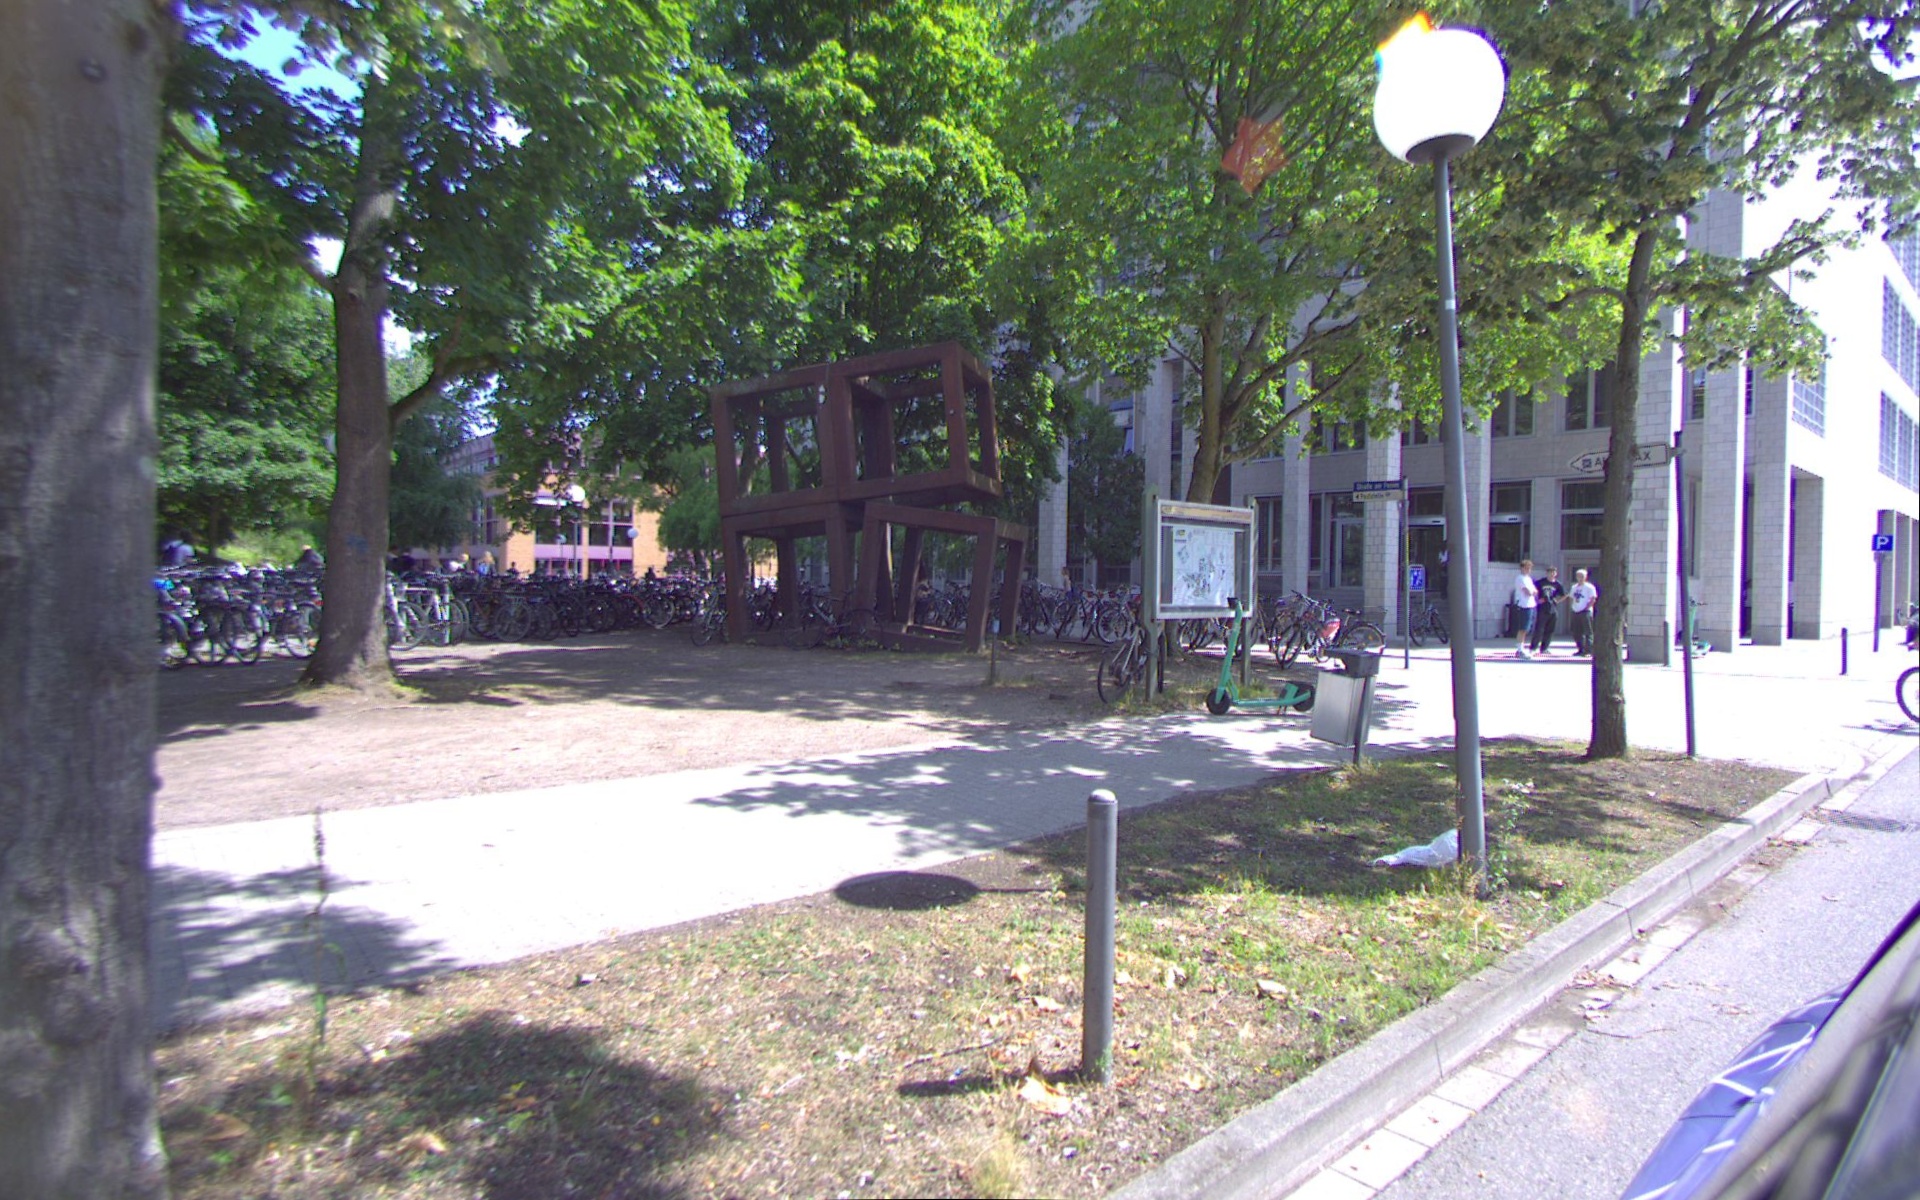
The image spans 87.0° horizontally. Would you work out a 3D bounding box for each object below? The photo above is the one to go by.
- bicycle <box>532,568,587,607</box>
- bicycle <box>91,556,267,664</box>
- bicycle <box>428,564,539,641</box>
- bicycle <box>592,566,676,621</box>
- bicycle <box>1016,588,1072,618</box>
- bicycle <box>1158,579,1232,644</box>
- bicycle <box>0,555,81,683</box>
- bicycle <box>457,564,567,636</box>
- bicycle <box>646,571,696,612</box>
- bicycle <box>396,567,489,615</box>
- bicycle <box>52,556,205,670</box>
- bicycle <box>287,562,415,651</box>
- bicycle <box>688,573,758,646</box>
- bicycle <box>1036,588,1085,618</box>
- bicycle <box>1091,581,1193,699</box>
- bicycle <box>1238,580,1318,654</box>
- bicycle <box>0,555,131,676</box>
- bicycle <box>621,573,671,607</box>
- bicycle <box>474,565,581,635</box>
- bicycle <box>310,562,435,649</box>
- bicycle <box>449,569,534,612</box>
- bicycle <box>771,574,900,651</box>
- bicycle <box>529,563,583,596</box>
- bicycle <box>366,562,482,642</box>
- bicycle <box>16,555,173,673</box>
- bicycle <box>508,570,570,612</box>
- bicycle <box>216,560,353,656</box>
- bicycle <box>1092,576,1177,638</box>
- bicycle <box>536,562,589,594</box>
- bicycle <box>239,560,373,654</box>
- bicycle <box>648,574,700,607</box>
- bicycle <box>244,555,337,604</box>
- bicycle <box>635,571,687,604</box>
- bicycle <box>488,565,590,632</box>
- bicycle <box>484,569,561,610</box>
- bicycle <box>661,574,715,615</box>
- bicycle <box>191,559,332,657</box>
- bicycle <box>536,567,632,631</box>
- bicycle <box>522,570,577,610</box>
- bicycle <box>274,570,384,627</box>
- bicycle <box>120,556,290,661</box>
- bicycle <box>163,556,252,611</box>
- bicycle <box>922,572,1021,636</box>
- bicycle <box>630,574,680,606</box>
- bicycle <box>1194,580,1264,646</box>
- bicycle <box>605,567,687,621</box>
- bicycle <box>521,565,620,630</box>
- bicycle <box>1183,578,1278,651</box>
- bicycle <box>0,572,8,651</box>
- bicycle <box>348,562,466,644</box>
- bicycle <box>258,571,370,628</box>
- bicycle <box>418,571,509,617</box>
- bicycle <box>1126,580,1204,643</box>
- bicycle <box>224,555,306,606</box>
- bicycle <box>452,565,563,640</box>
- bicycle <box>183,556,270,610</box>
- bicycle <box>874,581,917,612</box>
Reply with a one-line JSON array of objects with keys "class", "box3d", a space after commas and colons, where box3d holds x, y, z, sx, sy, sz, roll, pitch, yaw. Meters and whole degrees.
[{"class": "bicycle", "box3d": [-11.613, -0.355, 29.379, 1.441, 1.098, 0.353, 0, -2, -12]}, {"class": "bicycle", "box3d": [-9.040, 0.112, 11.733, 1.811, 1.185, 0.345, 1, 1, 2]}, {"class": "bicycle", "box3d": [-7.821, 0.029, 16.599, 1.817, 1.185, 0.352, 2, 1, 13]}, {"class": "bicycle", "box3d": [-7.383, -0.156, 22.954, 1.812, 1.185, 0.345, 2, 1, 5]}, {"class": "bicycle", "box3d": [2.672, 0.089, 32.235, 1.739, 0.911, 0.449, 1, 0, -22]}, {"class": "bicycle", "box3d": [4.200, 0.218, 18.051, 1.447, 1.099, 0.460, 2, 2, -40]}, {"class": "bicycle", "box3d": [-9.448, 0.156, 9.885, 1.768, 1.185, 0.401, 2, 1, 16]}, {"class": "bicycle", "box3d": [-7.717, -0.010, 17.432, 1.816, 1.185, 0.387, 2, 1, 11]}, {"class": "bicycle", "box3d": [-8.073, -0.242, 28.306, 0.351, 1.097, 1.452, 1, 1, 36]}, {"class": "bicycle", "box3d": [-11.377, -0.207, 22.257, 1.870, 0.991, 0.478, 2, 2, 5]}, {"class": "bicycle", "box3d": [-9.260, 0.125, 11.260, 1.819, 1.185, 0.344, 2, 1, 16]}, {"class": "bicycle", "box3d": [-8.626, 0.079, 14.323, 1.817, 1.185, 0.352, 2, 1, 13]}, {"class": "bicycle", "box3d": [-3.906, 0.124, 16.815, 0.468, 1.123, 1.665, 1, 2, 12]}, {"class": "bicycle", "box3d": [3.152, 0.085, 31.544, 1.743, 0.911, 0.337, -1, 1, -36]}, {"class": "bicycle", "box3d": [1.973, 0.379, 10.778, 0.622, 1.097, 1.674, -1, 3, 26]}, {"class": "bicycle", "box3d": [5.295, 0.285, 16.816, 1.464, 1.155, 0.560, 2, 2, -44]}, {"class": "bicycle", "box3d": [-9.558, 0.136, 10.594, 1.819, 1.185, 0.401, 2, 1, 16]}, {"class": "bicycle", "box3d": [-11.295, -0.357, 36.404, 0.549, 1.165, 1.661, -1, -2, 44]}, {"class": "bicycle", "box3d": [-7.720, -0.008, 18.059, 1.816, 1.185, 0.412, 2, 1, 11]}, {"class": "bicycle", "box3d": [-8.530, 0.065, 14.683, 1.817, 1.185, 0.352, 2, 1, 13]}, {"class": "bicycle", "box3d": [-11.488, -0.233, 24.825, 1.868, 0.991, 0.479, 2, 2, 0]}, {"class": "bicycle", "box3d": [-1.923, 0.170, 15.641, 1.895, 1.123, 0.630, 1, 2, 13]}, {"class": "bicycle", "box3d": [-13.740, -0.702, 34.451, 1.655, 1.098, 0.479, 0, -2, -4]}, {"class": "bicycle", "box3d": [-8.390, 0.018, 15.829, 1.817, 1.185, 0.352, 2, 1, 13]}, {"class": "bicycle", "box3d": [-9.346, 0.129, 10.918, 1.819, 1.185, 0.344, 2, 1, 16]}, {"class": "bicycle", "box3d": [-11.290, -0.237, 27.161, 1.442, 1.098, 0.479, 0, -2, -8]}, {"class": "bicycle", "box3d": [-8.873, 0.092, 13.292, 1.817, 1.185, 0.344, 2, 1, 13]}, {"class": "bicycle", "box3d": [3.276, 0.138, 18.904, 1.664, 1.099, 0.482, 2, 2, -36]}, {"class": "bicycle", "box3d": [-13.858, -0.755, 35.271, 1.655, 1.098, 0.479, 0, -2, -4]}, {"class": "bicycle", "box3d": [-8.800, 0.078, 13.621, 1.817, 1.185, 0.344, 2, 1, 13]}, {"class": "bicycle", "box3d": [-9.807, -0.321, 34.751, 0.527, 1.098, 1.661, -1, -2, 44]}, {"class": "bicycle", "box3d": [-14.206, -0.437, 21.471, 1.769, 0.991, 0.378, 2, 2, 3]}, {"class": "bicycle", "box3d": [-10.397, -0.421, 35.177, 1.654, 1.098, 0.529, 1, -2, -30]}, {"class": "bicycle", "box3d": [-7.801, -0.035, 18.767, 1.816, 1.185, 0.412, 2, 1, 11]}, {"class": "bicycle", "box3d": [-11.236, -0.280, 26.003, 1.874, 0.991, 0.477, 2, 2, 12]}, {"class": "bicycle", "box3d": [-7.398, -0.158, 27.553, 1.448, 1.097, 0.352, 0, 1, -45]}, {"class": "bicycle", "box3d": [-8.948, 0.084, 12.954, 1.817, 1.185, 0.344, 2, 1, 13]}, {"class": "bicycle", "box3d": [-7.397, -0.032, 19.902, 1.816, 1.185, 0.412, 2, 1, 11]}, {"class": "bicycle", "box3d": [-11.482, -0.277, 28.301, 1.451, 1.098, 0.451, 0, -2, 16]}, {"class": "bicycle", "box3d": [-11.977, -0.036, 19.218, 1.871, 0.991, 0.478, 2, 2, 7]}, {"class": "bicycle", "box3d": [-9.016, 0.093, 12.106, 1.811, 1.185, 0.345, 1, 1, 2]}, {"class": "bicycle", "box3d": [-14.308, -0.327, 19.236, 1.571, 0.991, 0.403, 2, 2, 11]}, {"class": "bicycle", "box3d": [0.220, 0.090, 18.494, 1.791, 1.091, 0.464, 2, 1, -33]}, {"class": "bicycle", "box3d": [-10.791, -0.345, 35.823, 0.527, 1.098, 1.661, -1, -2, 44]}, {"class": "bicycle", "box3d": [4.775, 0.237, 17.926, 1.416, 1.099, 0.460, 2, 2, -44]}, {"class": "bicycle", "box3d": [-7.223, -0.150, 23.289, 1.812, 1.185, 0.345, 2, 1, 5]}, {"class": "bicycle", "box3d": [-7.478, -0.050, 19.412, 1.816, 1.185, 0.412, 2, 1, 11]}, {"class": "bicycle", "box3d": [4.598, 0.247, 17.186, 1.494, 1.155, 0.493, 3, 1, -21]}, {"class": "bicycle", "box3d": [-13.094, 0.117, 13.064, 1.880, 0.991, 0.376, 2, 2, 20]}, {"class": "bicycle", "box3d": [-8.461, 0.034, 15.479, 1.817, 1.185, 0.352, 2, 1, 13]}, {"class": "bicycle", "box3d": [-12.023, -0.021, 18.838, 1.871, 0.991, 0.478, 2, 2, 7]}, {"class": "bicycle", "box3d": [-11.443, -0.151, 23.360, 1.868, 0.991, 0.479, 2, 2, 0]}, {"class": "bicycle", "box3d": [3.801, 0.218, 18.714, 1.486, 1.099, 0.482, 2, 2, -36]}, {"class": "bicycle", "box3d": [-14.243, -0.403, 20.743, 1.571, 0.991, 0.403, 2, 2, 11]}, {"class": "bicycle", "box3d": [-7.570, 0.025, 16.933, 1.817, 1.185, 0.387, 2, 1, 13]}, {"class": "bicycle", "box3d": [-14.231, -0.344, 19.638, 1.571, 0.991, 0.403, 2, 2, 11]}, {"class": "bicycle", "box3d": [-2.375, -0.134, 37.151, 0.561, 1.117, 1.830, 2, 0, -42]}]
